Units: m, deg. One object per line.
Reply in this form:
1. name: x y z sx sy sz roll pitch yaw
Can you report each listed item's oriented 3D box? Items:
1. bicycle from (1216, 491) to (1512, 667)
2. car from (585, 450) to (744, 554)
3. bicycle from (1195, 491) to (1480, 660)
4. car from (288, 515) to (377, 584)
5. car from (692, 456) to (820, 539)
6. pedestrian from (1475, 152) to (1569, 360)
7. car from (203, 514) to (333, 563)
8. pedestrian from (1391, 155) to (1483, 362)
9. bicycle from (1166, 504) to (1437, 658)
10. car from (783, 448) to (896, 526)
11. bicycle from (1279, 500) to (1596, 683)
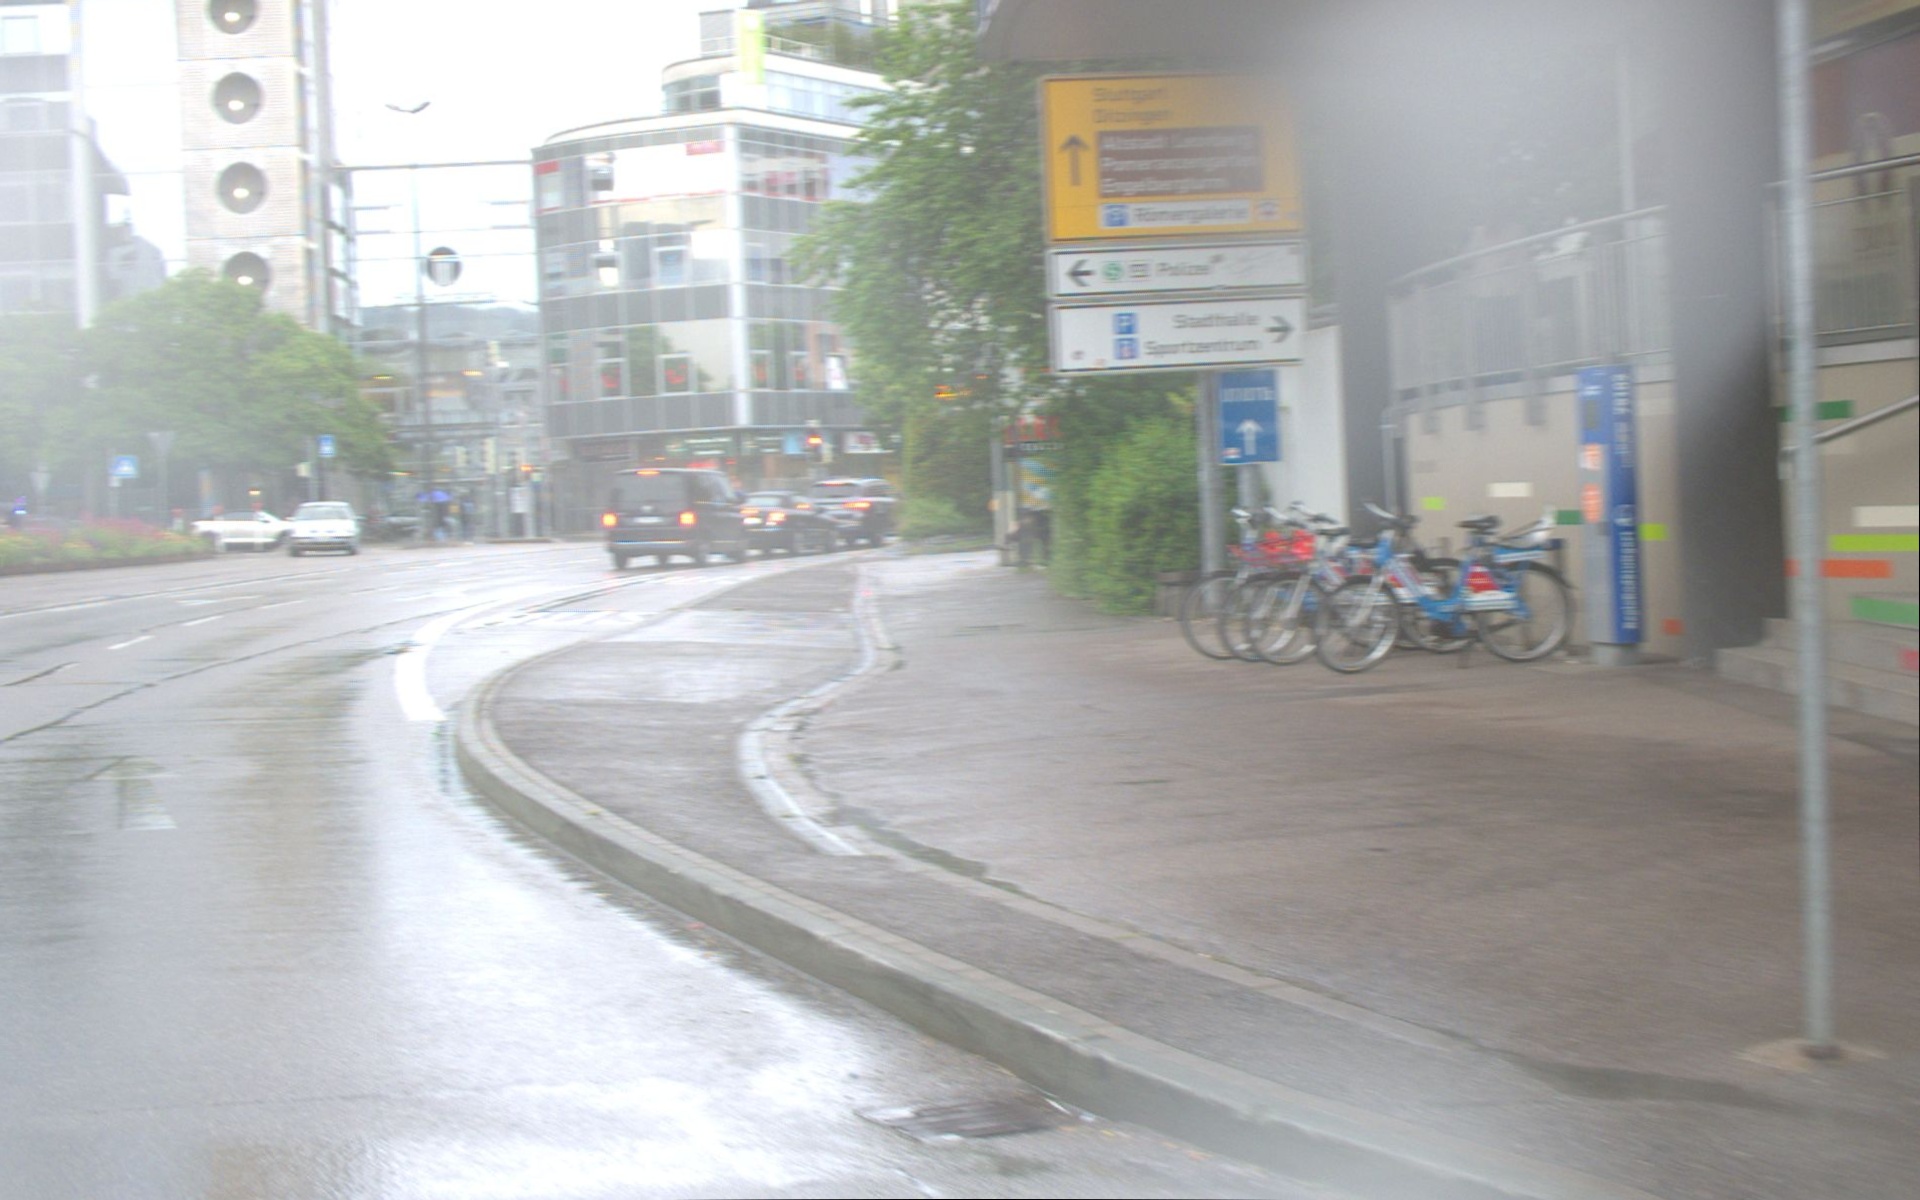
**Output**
1. bicycle: 2.778 -0.149 23.710 1.848 1.039 0.647 -5 1 -7
2. car: -5.852 -1.983 68.529 2.044 1.889 4.138 -2 3 11
3. bicycle: 2.678 -0.183 24.463 1.848 1.030 0.629 -5 1 -7
4. car: -16.467 -1.338 90.328 1.692 1.626 3.512 -2 3 -1
5. car: -4.456 -2.283 75.640 1.887 1.666 3.999 -2 3 10
6. pedestrian: 4.741 -2.896 29.035 0.652 1.707 0.600 -1 3 -2
7. car: -22.610 -2.027 112.452 3.986 1.379 1.729 -3 3 -7
8. pedestrian: 4.033 -2.882 29.099 0.652 1.707 0.600 -1 3 -2
9. bicycle: 2.496 -0.146 25.193 1.848 0.948 0.536 -5 3 -3
10. car: -2.861 -2.727 82.260 1.911 1.719 3.808 -2 3 10
11. bicycle: 3.060 -0.062 22.104 1.848 1.019 0.632 -4 1 -7
